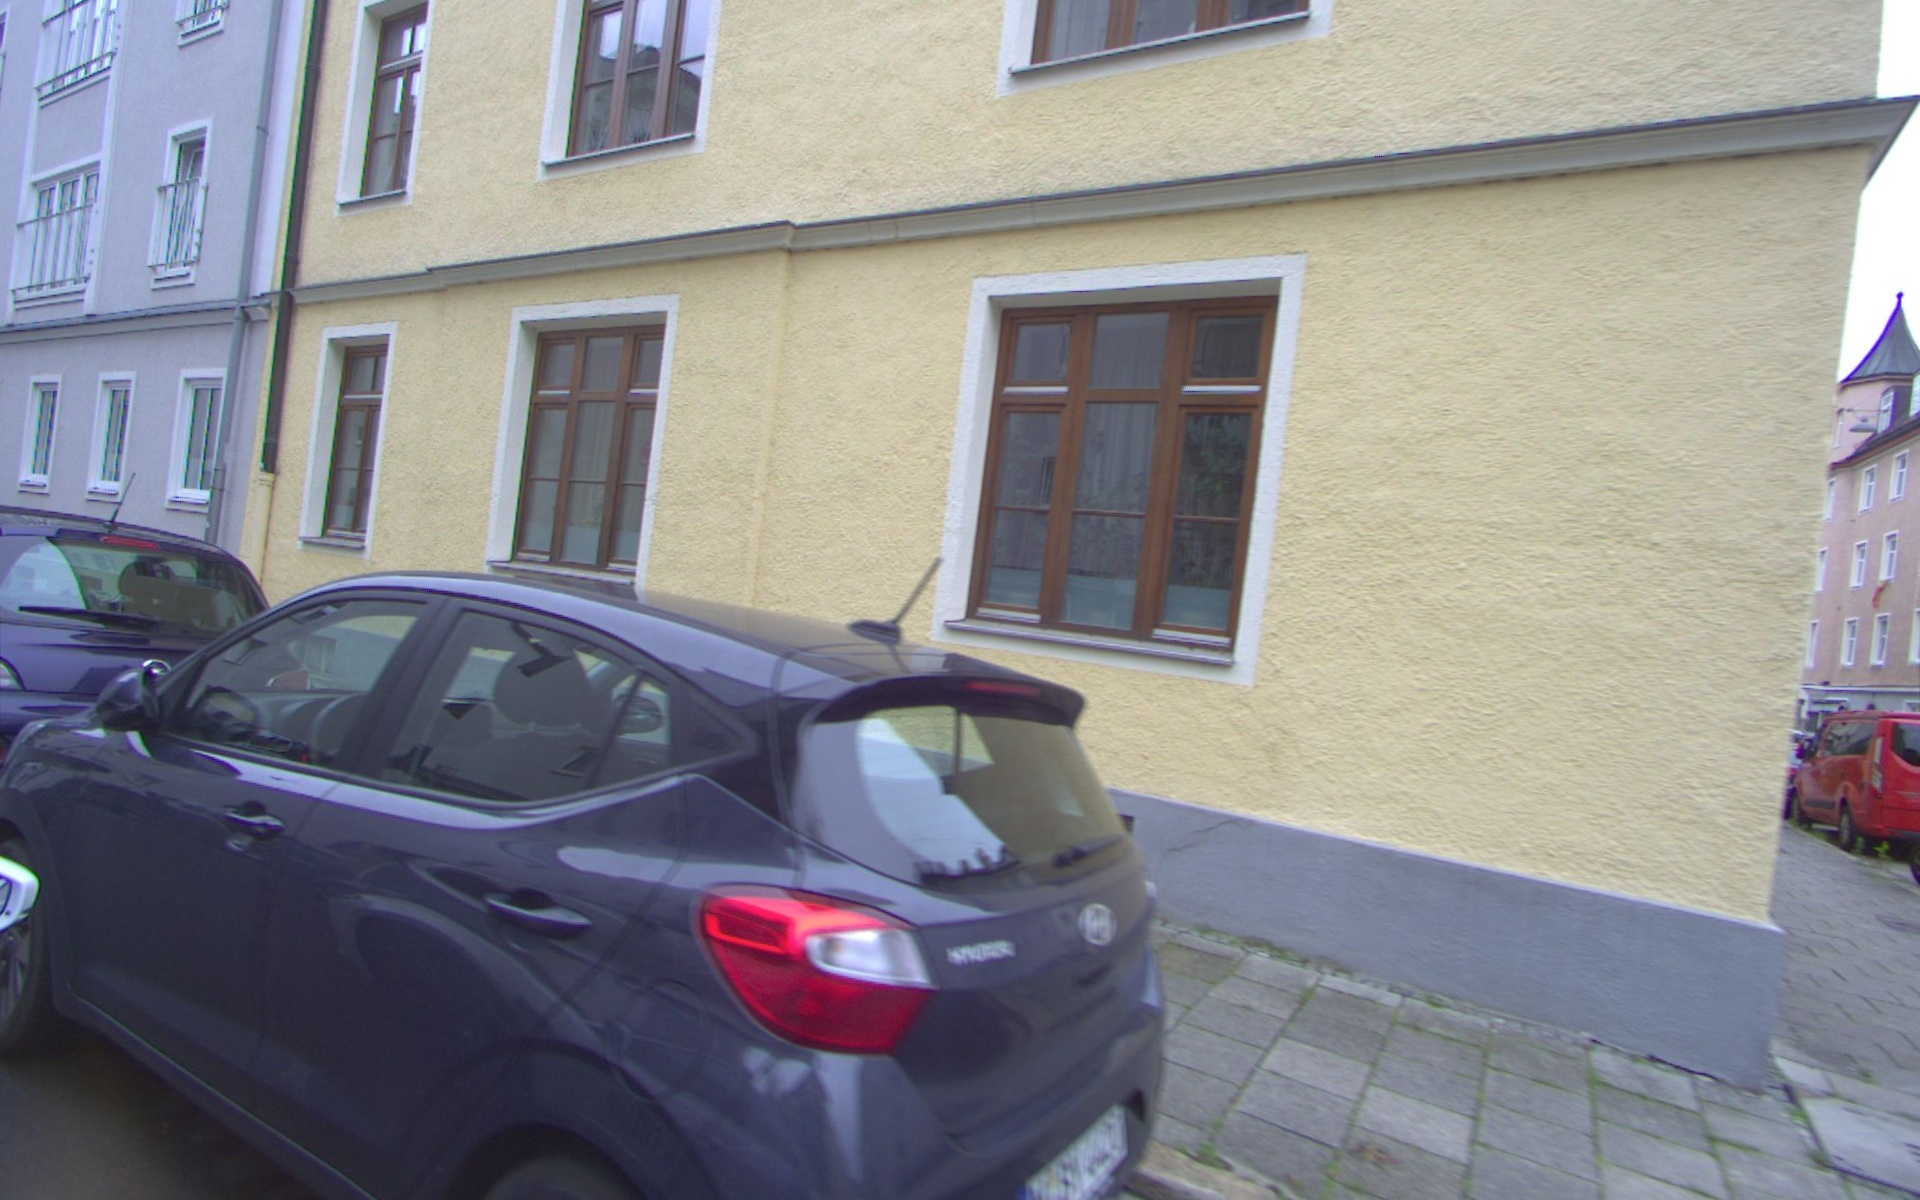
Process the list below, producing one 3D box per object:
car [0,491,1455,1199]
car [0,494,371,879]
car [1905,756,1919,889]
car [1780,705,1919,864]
[{"bbox_3d":[-1.103,0.697,2.833,4.269,1.485,1.756,7,-3,30],"label":"car"},{"bbox_3d":[-5.040,0.218,5.272,3.755,1.485,1.668,7,-3,32],"label":"car"},{"bbox_3d":[11.103,2.489,9.909,1.683,1.511,3.982,4,-3,31],"label":"car"},{"bbox_3d":[14.410,2.754,15.460,1.876,2.076,4.551,4,-3,29],"label":"car"}]
